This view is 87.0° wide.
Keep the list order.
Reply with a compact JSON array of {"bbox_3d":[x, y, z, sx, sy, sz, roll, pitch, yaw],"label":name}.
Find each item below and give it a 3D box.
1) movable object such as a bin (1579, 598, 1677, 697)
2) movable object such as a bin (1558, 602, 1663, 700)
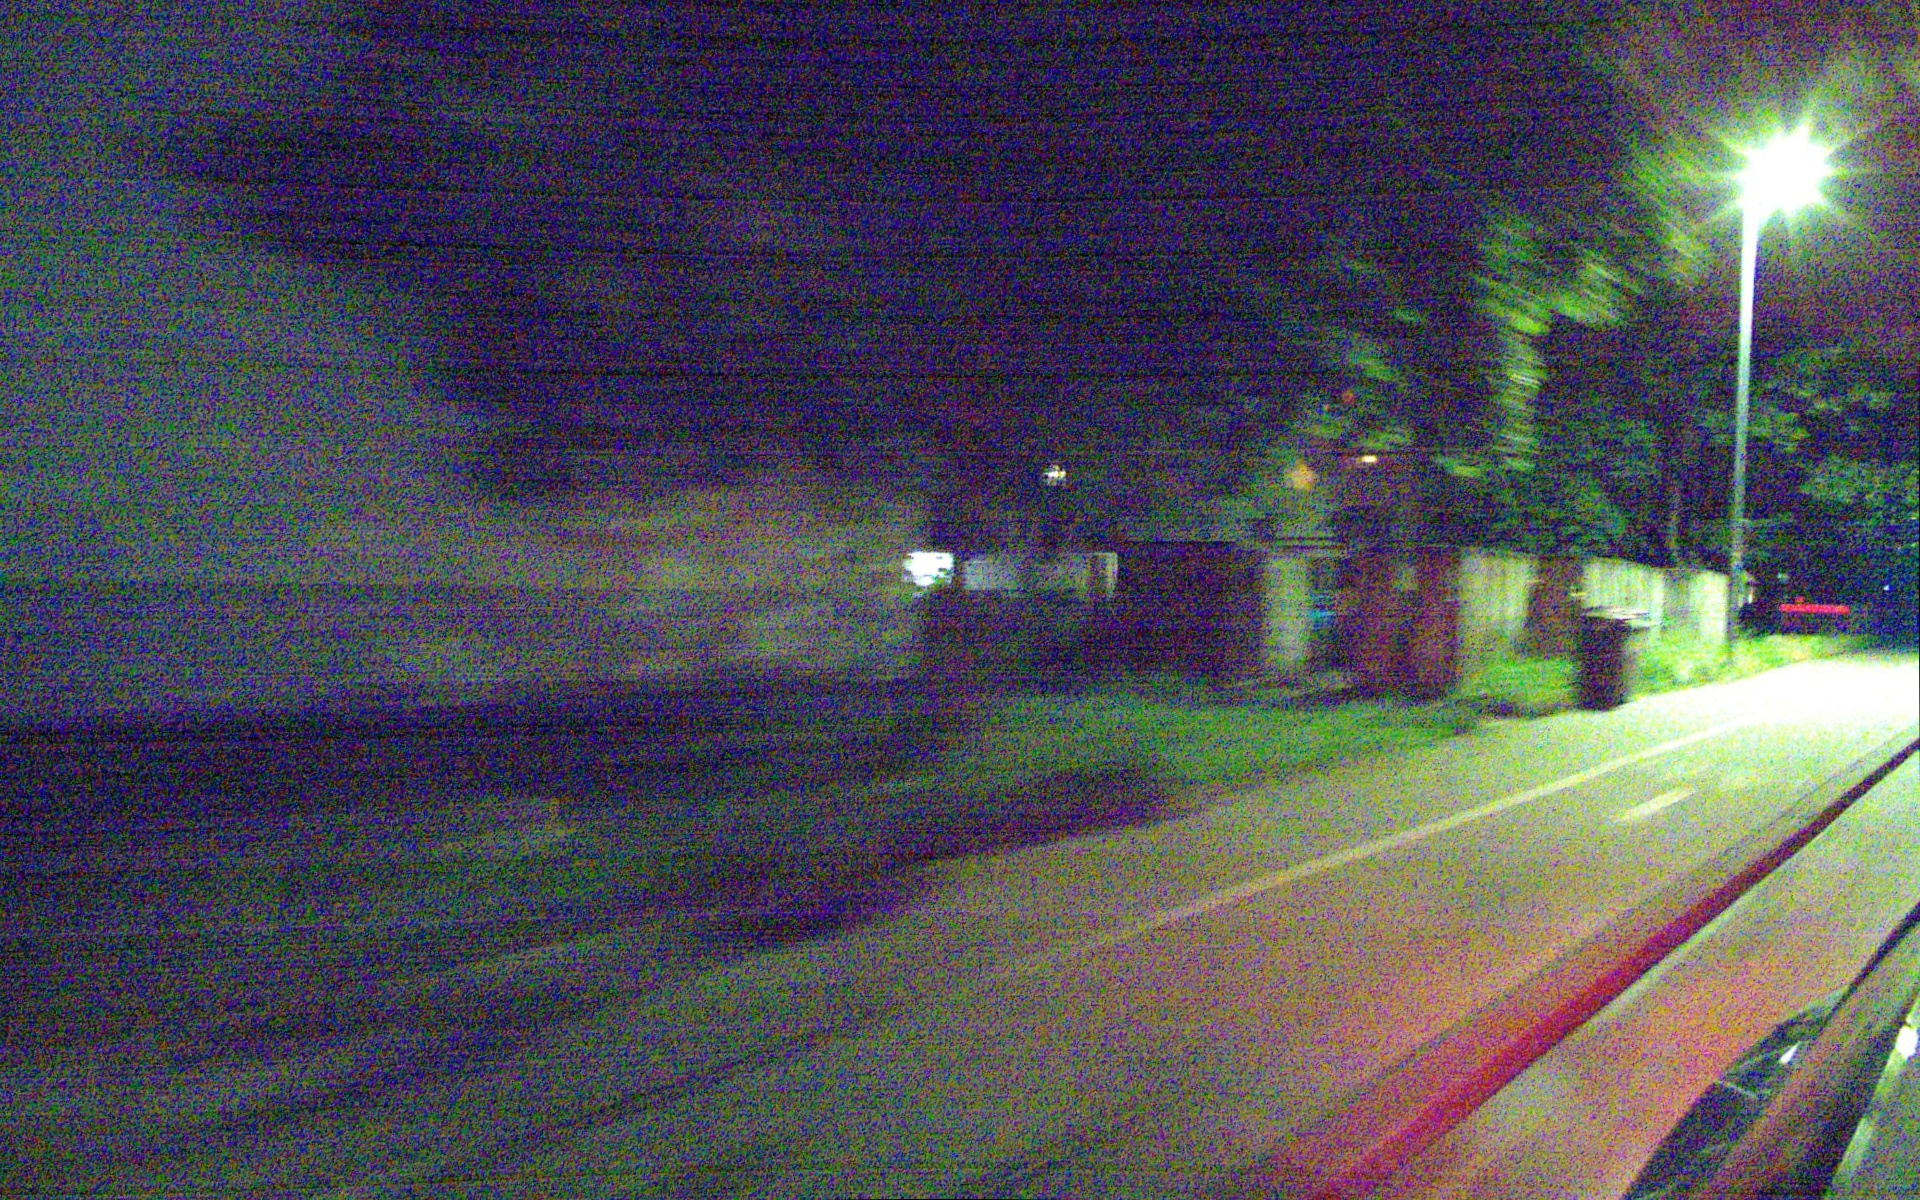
[{"bbox_3d":[8.644,0.588,13.094,0.813,1.196,0.835,0,1,-38],"label":"movable object such as a bin"},{"bbox_3d":[8.028,0.603,12.490,0.825,1.133,0.859,0,1,-38],"label":"movable object such as a bin"}]
